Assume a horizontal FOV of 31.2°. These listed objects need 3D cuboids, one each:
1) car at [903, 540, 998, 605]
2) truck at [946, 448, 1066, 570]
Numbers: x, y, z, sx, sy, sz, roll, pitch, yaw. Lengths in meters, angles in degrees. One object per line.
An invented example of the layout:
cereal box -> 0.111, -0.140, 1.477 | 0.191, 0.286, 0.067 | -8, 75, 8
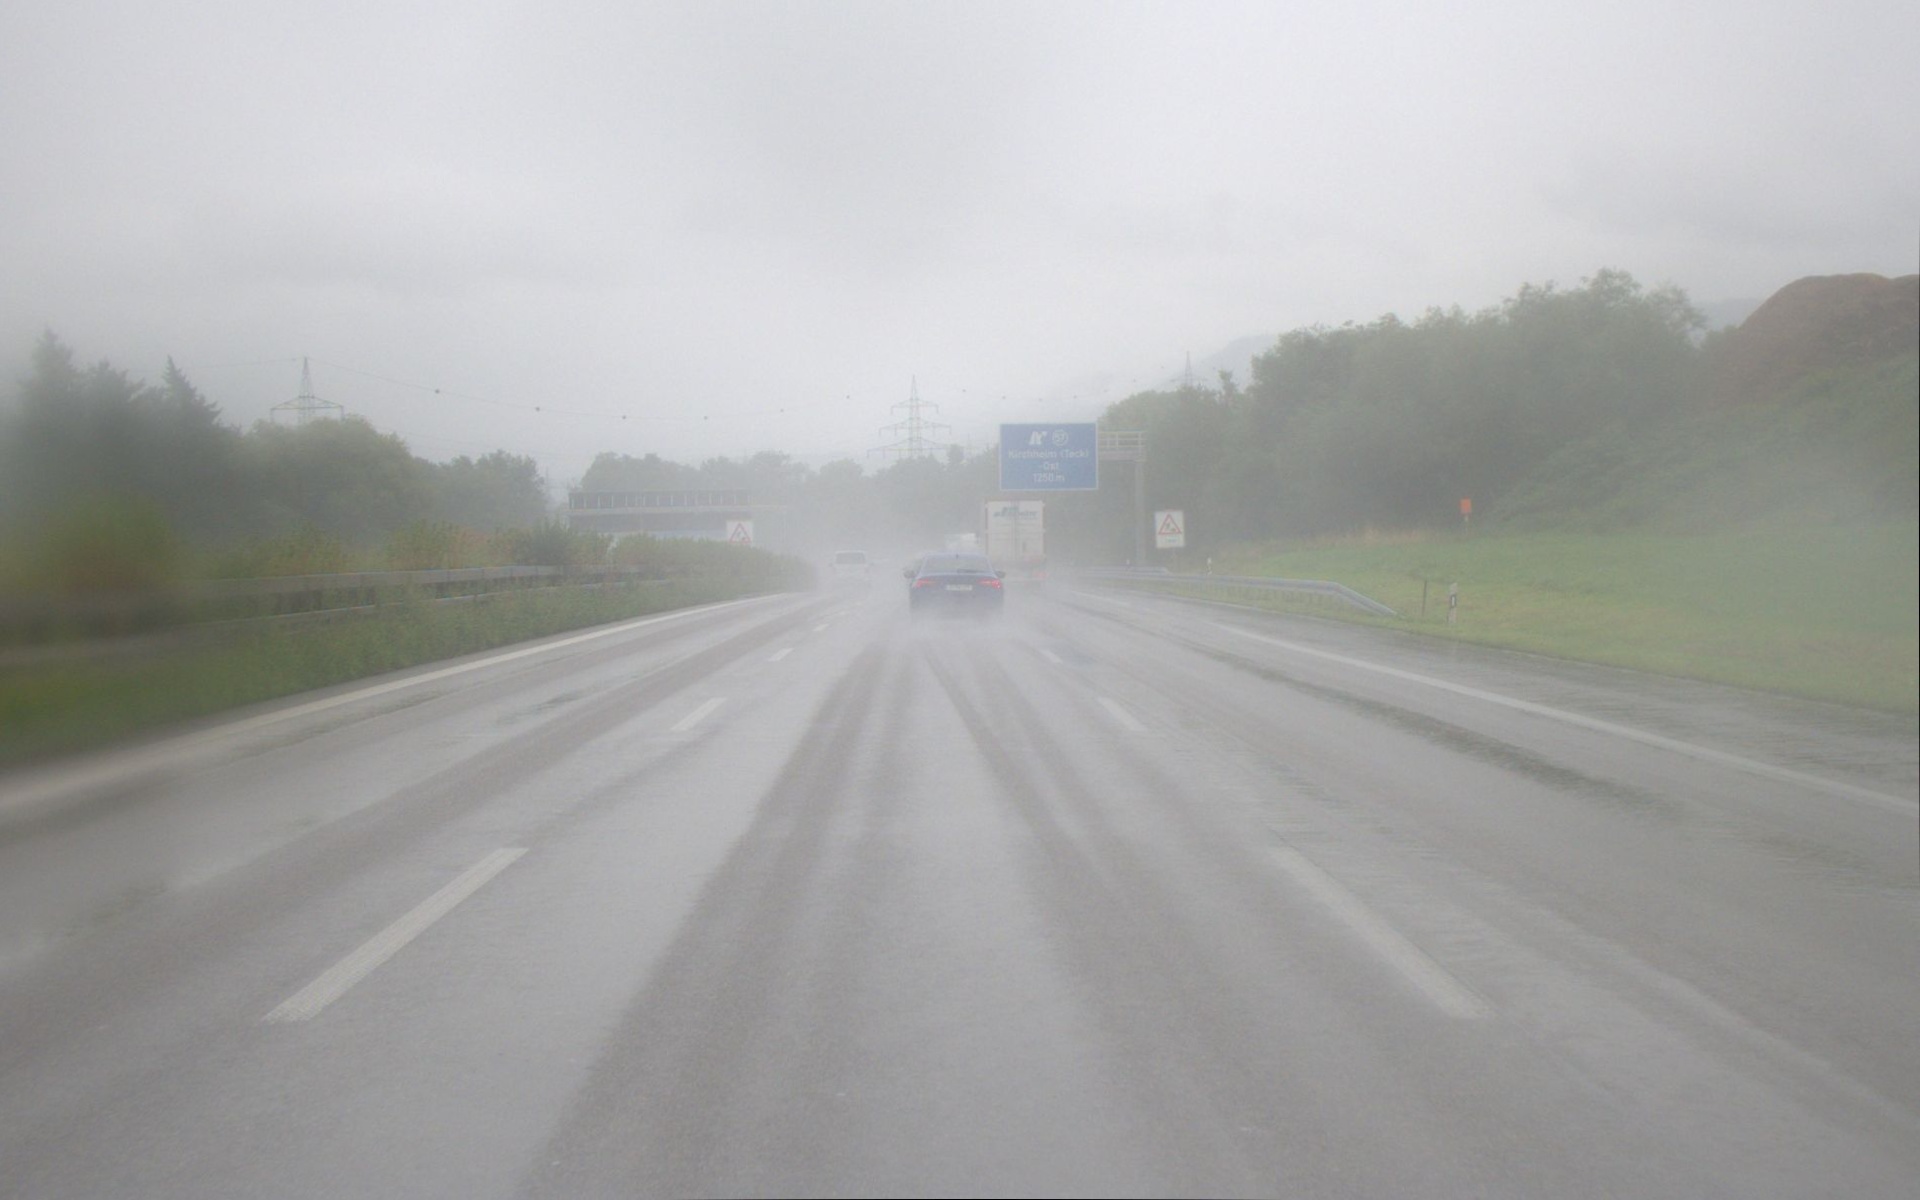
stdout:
car -> -0.214, -0.541, 66.155 | 1.748, 1.208, 4.000 | 0, 1, -1
truck -> 1.933, -4.029, 154.842 | 4.256, 4.955, 17.342 | -3, 1, -2
